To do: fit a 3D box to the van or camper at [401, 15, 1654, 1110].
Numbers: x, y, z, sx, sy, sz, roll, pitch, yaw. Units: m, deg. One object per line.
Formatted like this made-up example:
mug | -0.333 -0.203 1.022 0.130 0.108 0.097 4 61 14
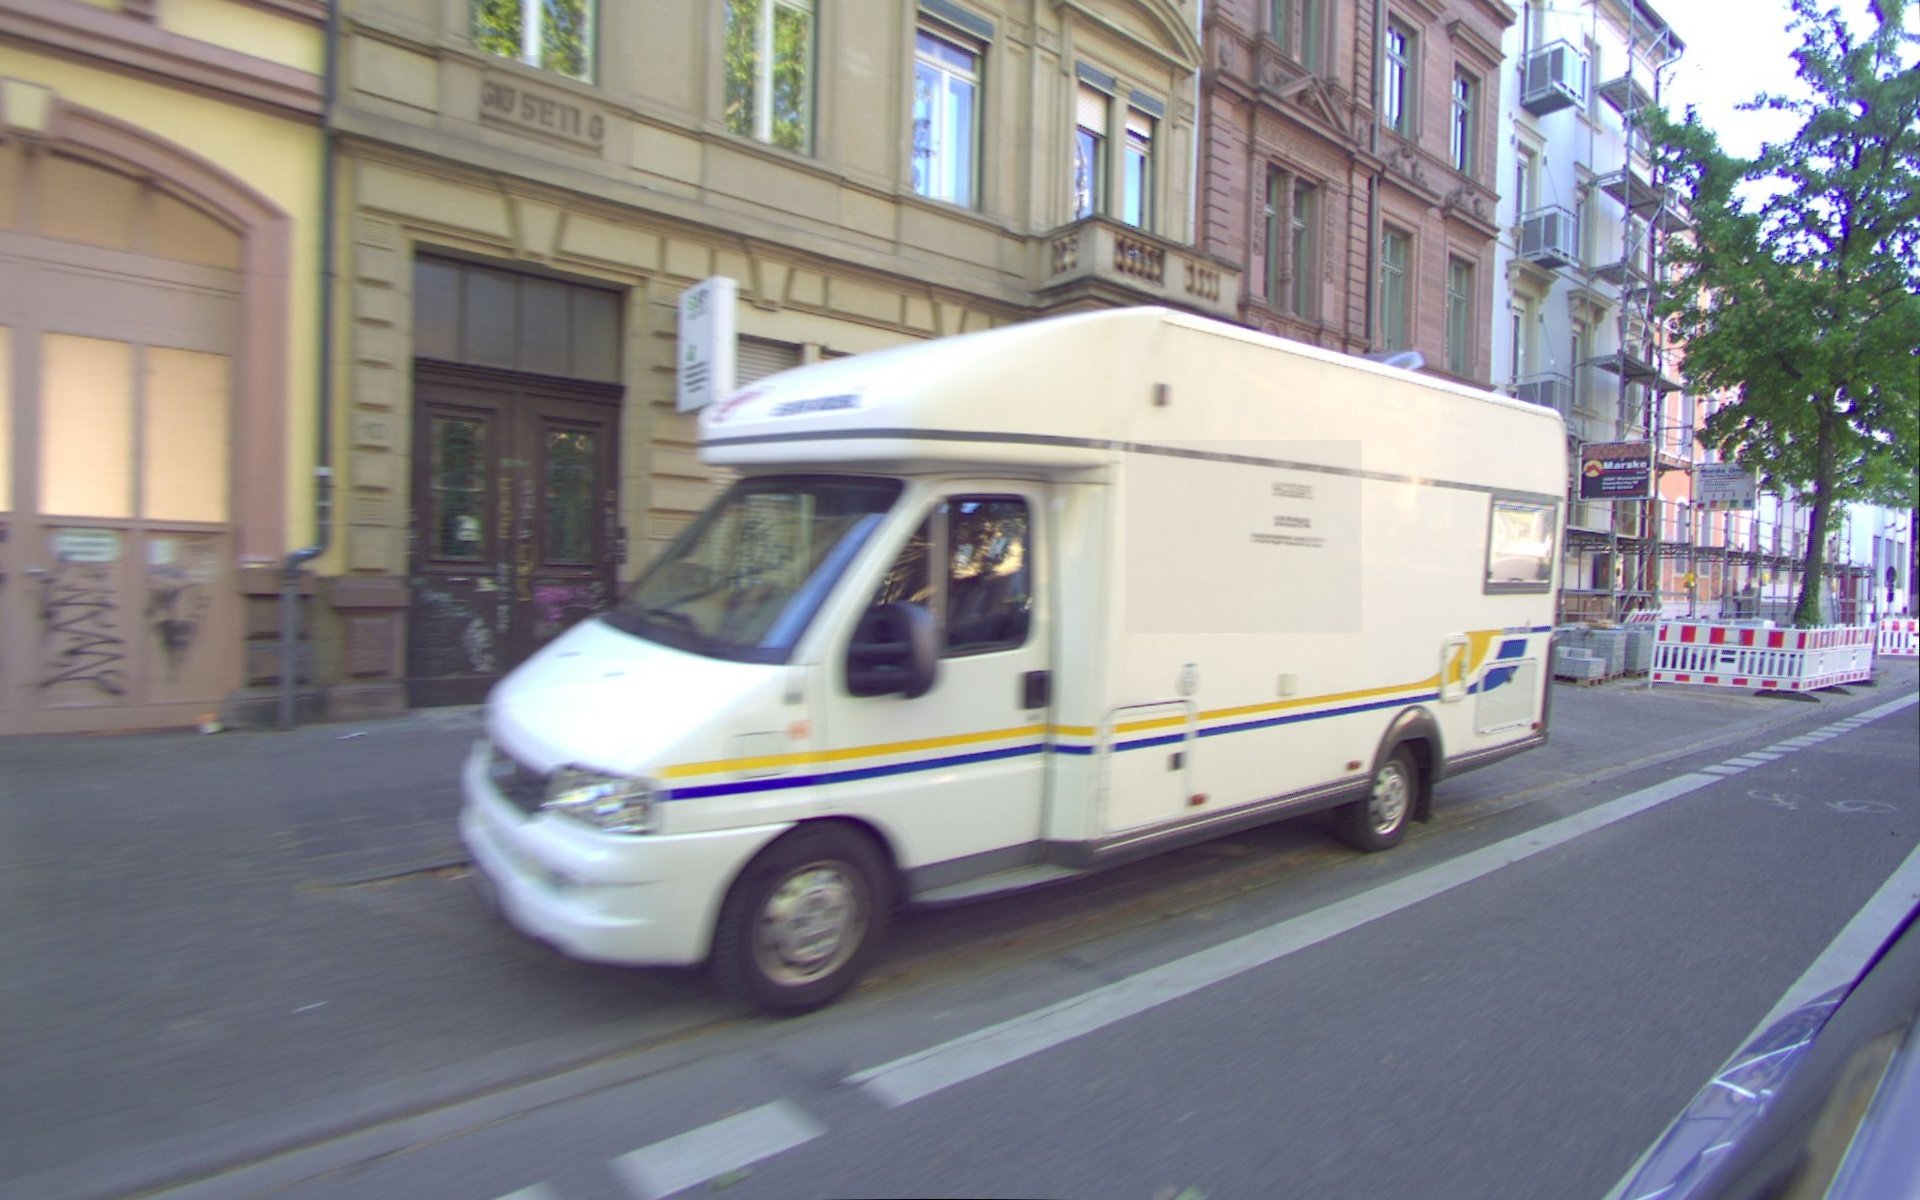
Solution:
van or camper | 1.199 -0.183 6.128 7.738 3.007 2.486 0 5 -38
